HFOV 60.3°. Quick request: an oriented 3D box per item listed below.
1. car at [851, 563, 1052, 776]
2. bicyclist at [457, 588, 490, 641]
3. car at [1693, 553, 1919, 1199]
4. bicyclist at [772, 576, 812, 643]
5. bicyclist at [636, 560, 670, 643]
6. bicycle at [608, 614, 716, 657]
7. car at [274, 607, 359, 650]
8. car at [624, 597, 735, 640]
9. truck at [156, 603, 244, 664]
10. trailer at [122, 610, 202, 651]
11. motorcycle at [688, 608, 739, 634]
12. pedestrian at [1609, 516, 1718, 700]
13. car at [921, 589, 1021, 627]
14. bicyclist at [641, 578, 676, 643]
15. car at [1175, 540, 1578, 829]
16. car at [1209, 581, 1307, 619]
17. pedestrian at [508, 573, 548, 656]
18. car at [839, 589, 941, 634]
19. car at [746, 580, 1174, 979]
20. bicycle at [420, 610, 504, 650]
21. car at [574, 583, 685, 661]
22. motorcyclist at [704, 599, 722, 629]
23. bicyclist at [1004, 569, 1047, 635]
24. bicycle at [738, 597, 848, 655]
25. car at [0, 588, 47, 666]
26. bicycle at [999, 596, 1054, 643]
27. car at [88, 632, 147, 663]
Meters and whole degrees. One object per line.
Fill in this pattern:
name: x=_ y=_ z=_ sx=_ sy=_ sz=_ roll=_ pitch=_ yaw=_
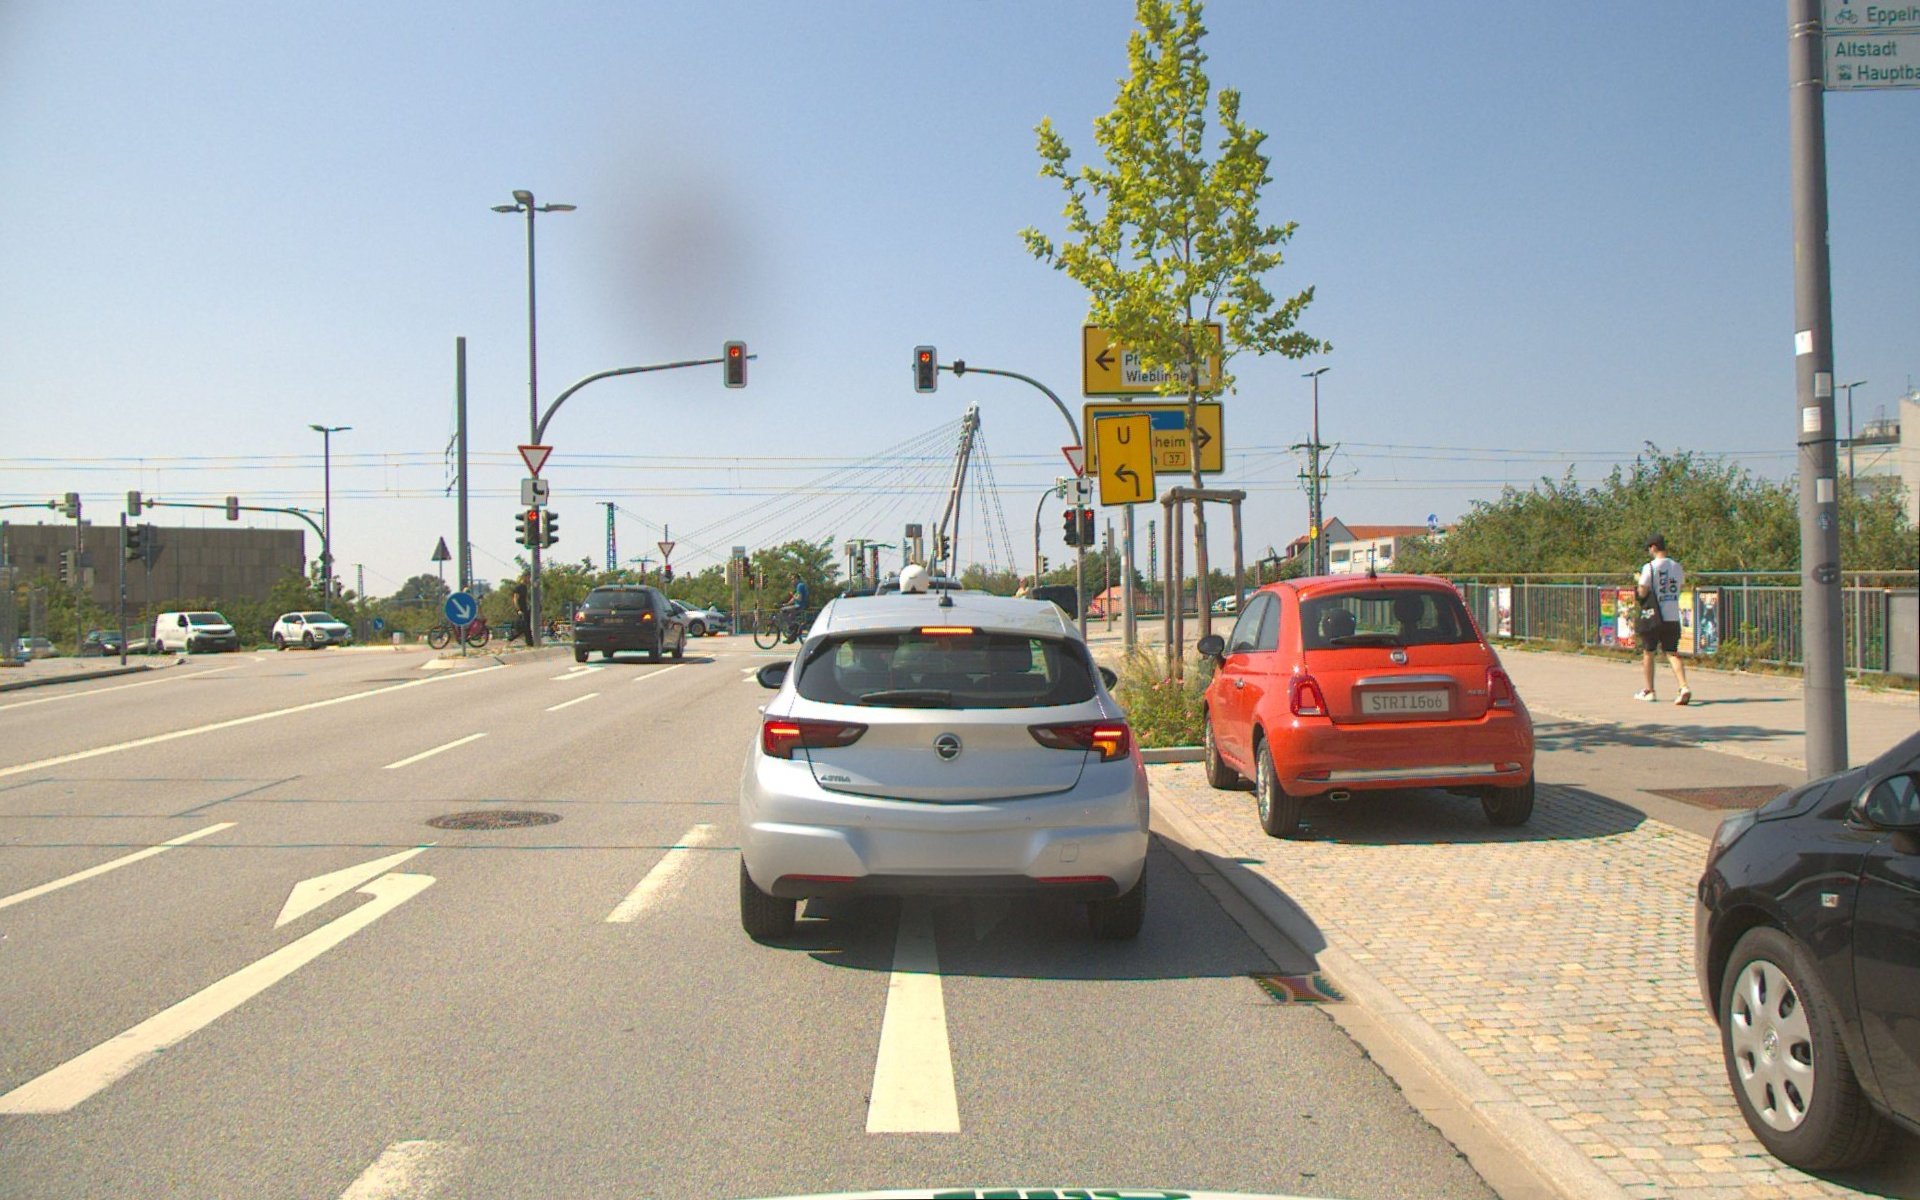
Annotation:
car: x=-0.113 y=0.583 z=15.373 sx=1.602 sy=1.703 sz=3.744 roll=1 pitch=-1 yaw=-1
bicyclist: x=-14.243 y=0.417 z=48.393 sx=0.704 sy=1.530 sz=0.824 roll=1 pitch=-1 yaw=-1
car: x=2.928 y=0.671 z=2.941 sx=1.549 sy=1.582 sz=3.546 roll=-3 pitch=1 yaw=-1
bicyclist: x=-4.013 y=0.228 z=39.635 sx=0.805 sy=1.587 sz=0.863 roll=1 pitch=-1 yaw=2
bicyclist: x=-7.151 y=0.037 z=38.545 sx=0.581 sy=1.920 sz=0.637 roll=1 pitch=-1 yaw=3
bicycle: x=-7.101 y=0.845 z=39.466 sx=2.453 sy=1.025 sz=0.605 roll=0 pitch=0 yaw=0
car: x=-28.516 y=1.248 z=73.279 sx=3.974 sy=1.846 sz=1.920 roll=0 pitch=0 yaw=42
car: x=-10.873 y=0.706 z=64.228 sx=3.890 sy=1.578 sz=1.677 roll=-1 pitch=-1 yaw=6
truck: x=-34.009 y=1.466 z=73.944 sx=4.627 sy=2.585 sz=1.987 roll=0 pitch=0 yaw=43
trailer: x=-37.137 y=1.412 z=76.941 sx=4.211 sy=1.807 sz=1.987 roll=1 pitch=-1 yaw=43
motorcycle: x=-12.579 y=1.070 z=84.335 sx=2.485 sy=1.255 sz=0.648 roll=1 pitch=-1 yaw=-2
pedestrian: x=7.350 y=0.084 z=17.318 sx=0.743 sy=1.862 sz=0.885 roll=1 pitch=-1 yaw=-1
car: x=0.403 y=0.310 z=64.069 sx=3.716 sy=1.386 sz=1.531 roll=-1 pitch=1 yaw=-5
bicyclist: x=-7.198 y=0.255 z=39.498 sx=0.643 sy=1.528 sz=0.844 roll=1 pitch=-1 yaw=0
car: x=2.608 y=0.491 z=11.294 sx=1.636 sy=1.567 sz=3.915 roll=-2 pitch=0 yaw=-1
car: x=14.183 y=0.005 z=78.693 sx=4.180 sy=1.703 sz=1.990 roll=1 pitch=0 yaw=-18
pedestrian: x=-9.944 y=0.335 z=38.093 sx=0.726 sy=1.896 sz=0.753 roll=1 pitch=-1 yaw=-6
car: x=-2.556 y=0.415 z=60.863 sx=3.671 sy=1.611 sz=1.813 roll=0 pitch=0 yaw=-2
car: x=-0.045 y=0.696 z=8.575 sx=1.656 sy=1.546 sz=4.269 roll=0 pitch=0 yaw=-1
bicycle: x=-14.555 y=0.883 z=48.383 sx=2.271 sy=1.153 sz=0.637 roll=0 pitch=0 yaw=0
car: x=-6.351 y=0.416 z=32.068 sx=1.555 sy=1.419 sz=3.339 roll=0 pitch=-1 yaw=-1
motorcyclist: x=-12.585 y=0.709 z=84.352 sx=0.792 sy=1.502 sz=0.885 roll=1 pitch=-1 yaw=-1
bicyclist: x=1.642 y=0.057 z=41.093 sx=0.803 sy=1.596 sz=0.948 roll=1 pitch=-1 yaw=20
bicycle: x=-3.987 y=0.623 z=39.631 sx=2.472 sy=1.153 sz=0.729 roll=-5 pitch=2 yaw=2
car: x=-25.950 y=0.706 z=44.911 sx=1.656 sy=2.049 sz=3.952 roll=2 pitch=-1 yaw=-34
bicycle: x=1.673 y=0.490 z=41.214 sx=0.661 sy=1.147 sz=2.366 roll=1 pitch=-1 yaw=20
car: x=-41.851 y=2.338 z=82.115 sx=1.653 sy=1.414 sz=3.727 roll=2 pitch=-1 yaw=-43
